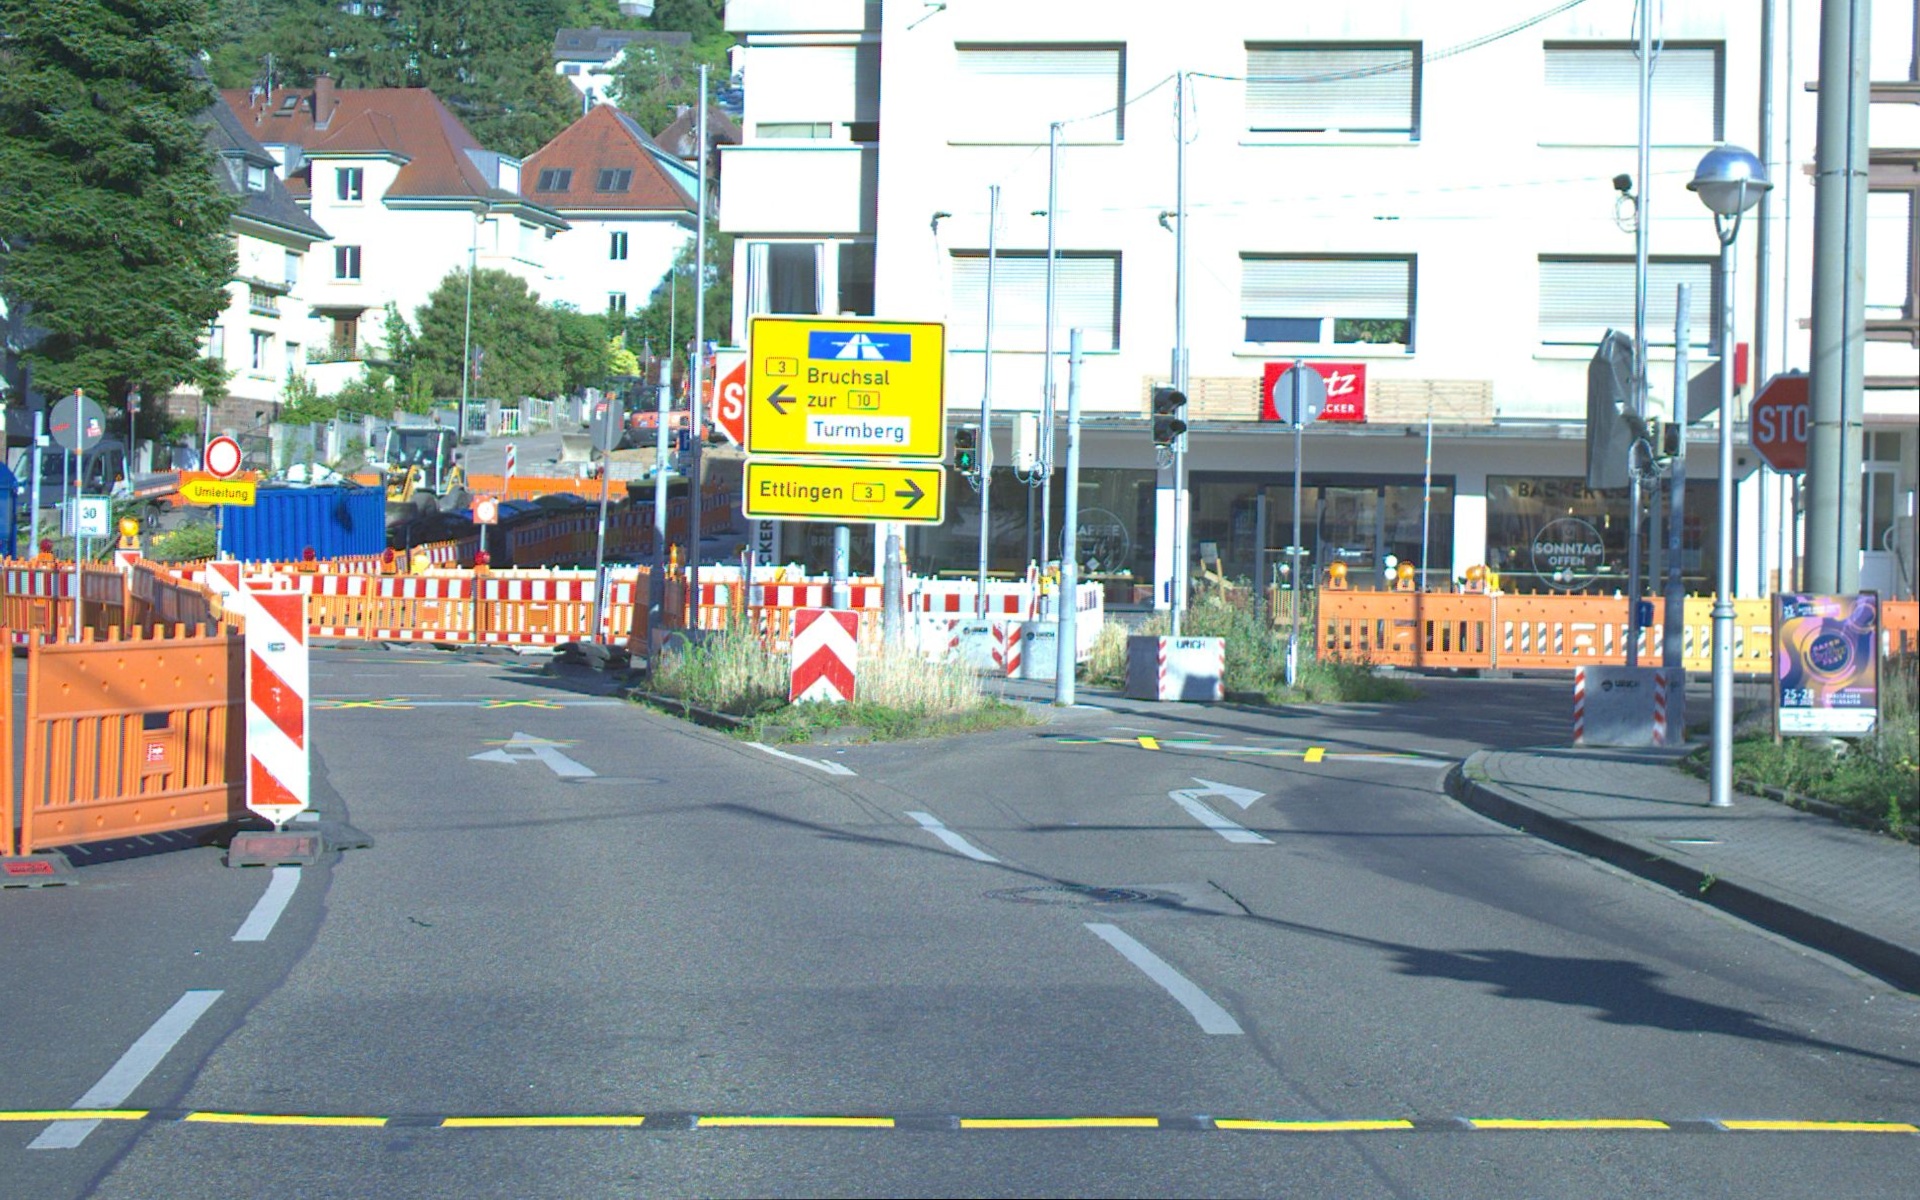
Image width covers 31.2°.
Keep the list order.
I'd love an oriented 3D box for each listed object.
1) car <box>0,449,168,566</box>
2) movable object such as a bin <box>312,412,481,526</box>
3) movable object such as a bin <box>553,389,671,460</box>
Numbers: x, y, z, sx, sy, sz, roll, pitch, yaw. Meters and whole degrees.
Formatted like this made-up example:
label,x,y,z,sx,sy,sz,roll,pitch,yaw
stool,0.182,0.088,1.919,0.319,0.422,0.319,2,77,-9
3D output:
label,x,y,z,sx,sy,sz,roll,pitch,yaw
car,-17.995,-1.743,66.138,2.585,2.113,6.145,1,1,18
movable object such as a bin,-12.889,-2.978,78.954,1.950,2.486,4.547,1,1,18
movable object such as a bin,-11.590,-5.824,114.849,2.566,2.114,5.782,1,1,8
